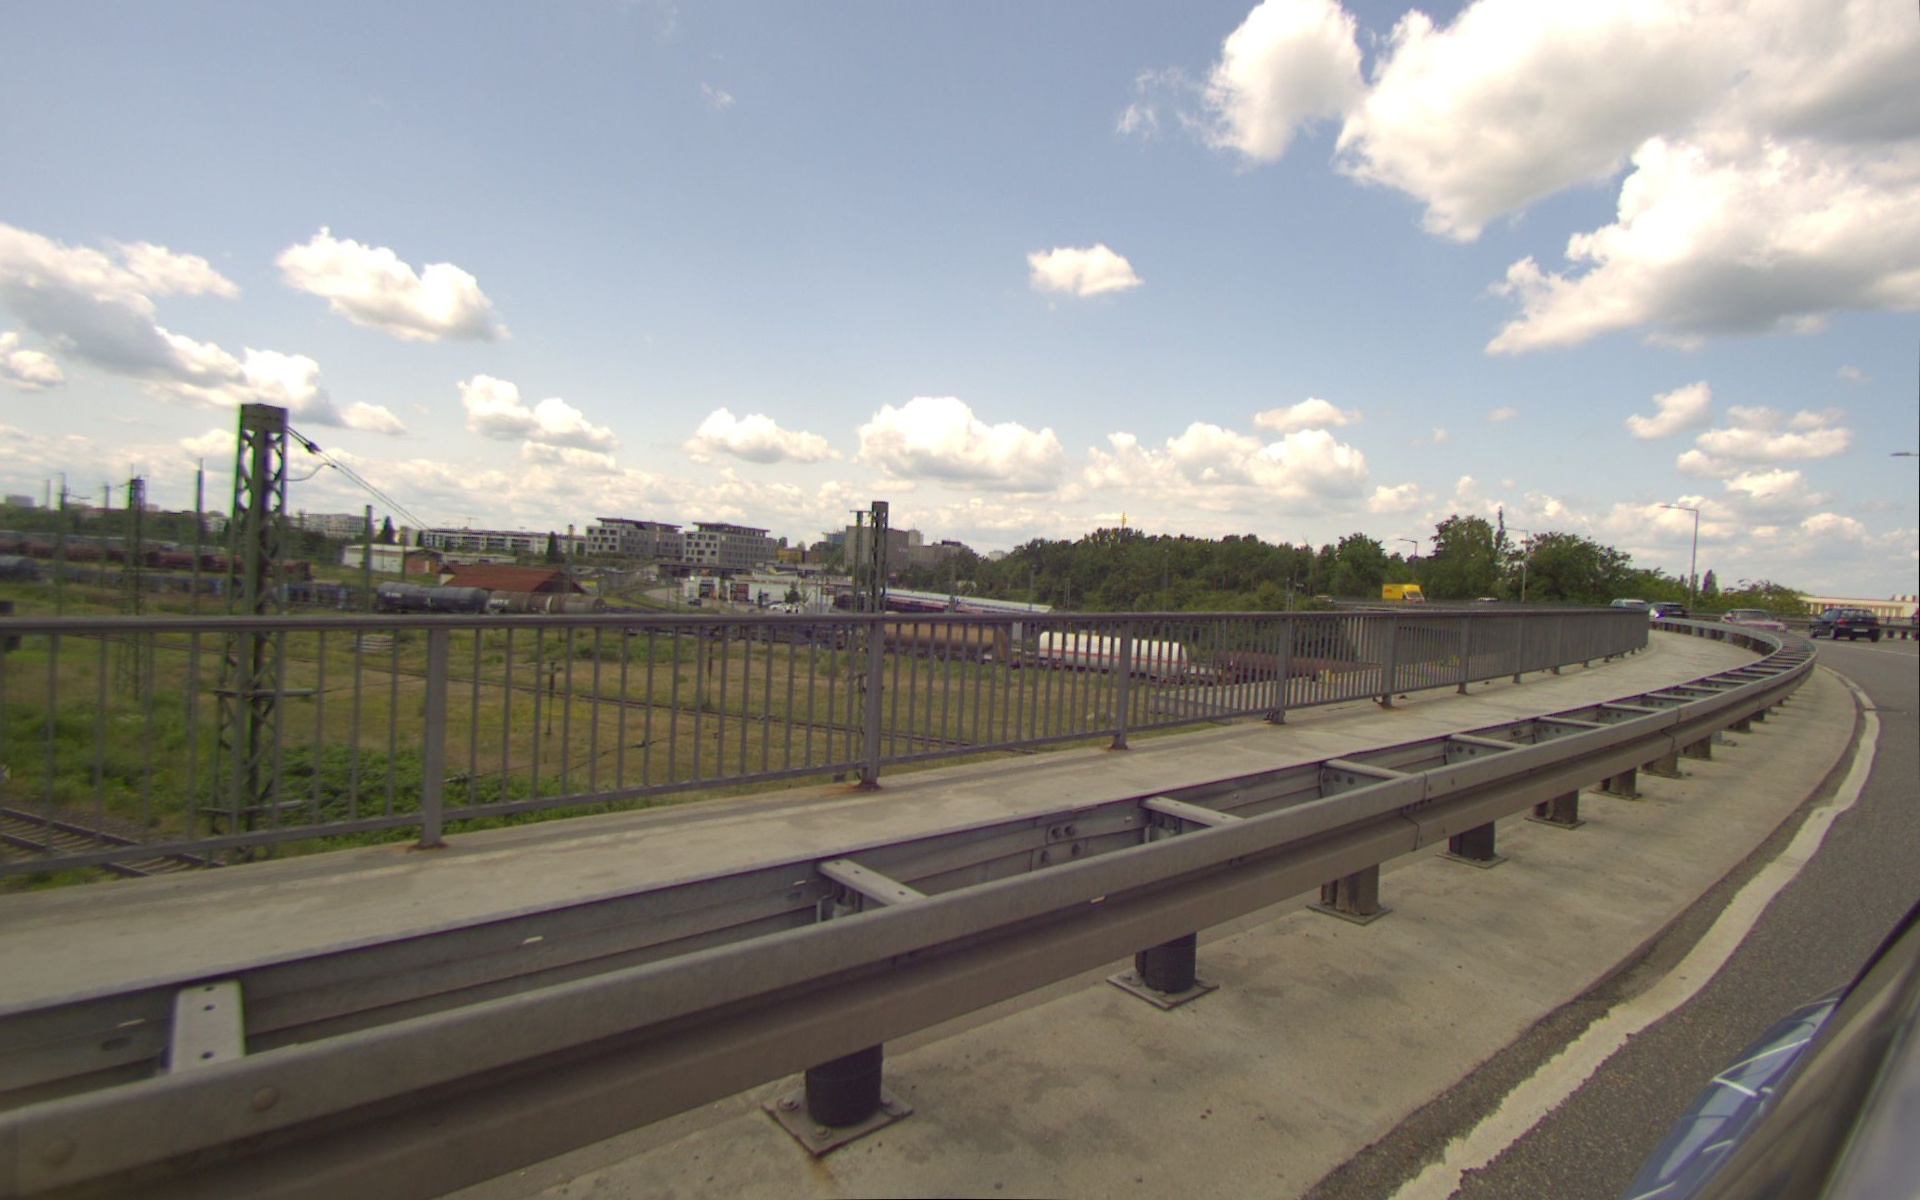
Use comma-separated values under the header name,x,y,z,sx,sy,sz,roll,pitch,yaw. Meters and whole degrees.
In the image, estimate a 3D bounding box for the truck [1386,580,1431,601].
name,x,y,z,sx,sy,sz,roll,pitch,yaw
truck,48.784,-1.059,110.237,1.961,2.038,6.150,3,2,-2

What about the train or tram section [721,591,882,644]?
name,x,y,z,sx,sy,sz,roll,pitch,yaw
train or tram section,-16.649,1.708,105.432,17.498,4.201,3.190,3,4,23

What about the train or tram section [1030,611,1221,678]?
name,x,y,z,sx,sy,sz,roll,pitch,yaw
train or tram section,14.333,3.763,89.603,16.849,4.201,3.181,4,5,33

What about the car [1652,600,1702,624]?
name,x,y,z,sx,sy,sz,roll,pitch,yaw
car,48.139,0.791,68.022,1.803,1.469,4.697,1,0,24

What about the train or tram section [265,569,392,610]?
name,x,y,z,sx,sy,sz,roll,pitch,yaw
train or tram section,-77.559,-1.404,124.314,15.728,4.201,3.202,3,4,14

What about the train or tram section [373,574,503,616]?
name,x,y,z,sx,sy,sz,roll,pitch,yaw
train or tram section,-62.254,-0.661,120.571,15.734,4.201,3.201,3,4,15

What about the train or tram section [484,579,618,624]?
name,x,y,z,sx,sy,sz,roll,pitch,yaw
train or tram section,-47.037,0.108,116.333,15.744,4.201,3.199,3,4,16

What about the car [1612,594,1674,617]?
name,x,y,z,sx,sy,sz,roll,pitch,yaw
car,42.206,0.328,62.638,1.930,1.355,3.982,0,0,15

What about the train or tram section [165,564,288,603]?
name,x,y,z,sx,sy,sz,roll,pitch,yaw
train or tram section,-92.793,-2.156,127.986,15.728,4.201,3.202,3,4,14

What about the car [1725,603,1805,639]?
name,x,y,z,sx,sy,sz,roll,pitch,yaw
car,33.960,0.839,42.794,1.811,1.355,3.964,1,1,26

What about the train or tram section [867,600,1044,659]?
name,x,y,z,sx,sy,sz,roll,pitch,yaw
train or tram section,-0.659,2.692,98.143,17.521,4.201,3.186,4,4,26

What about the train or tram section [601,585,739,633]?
name,x,y,z,sx,sy,sz,roll,pitch,yaw
train or tram section,-32.054,0.852,111.438,15.765,4.201,3.195,3,4,20

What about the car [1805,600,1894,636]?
name,x,y,z,sx,sy,sz,roll,pitch,yaw
car,39.498,0.769,45.035,1.800,1.470,3.896,1,0,23
